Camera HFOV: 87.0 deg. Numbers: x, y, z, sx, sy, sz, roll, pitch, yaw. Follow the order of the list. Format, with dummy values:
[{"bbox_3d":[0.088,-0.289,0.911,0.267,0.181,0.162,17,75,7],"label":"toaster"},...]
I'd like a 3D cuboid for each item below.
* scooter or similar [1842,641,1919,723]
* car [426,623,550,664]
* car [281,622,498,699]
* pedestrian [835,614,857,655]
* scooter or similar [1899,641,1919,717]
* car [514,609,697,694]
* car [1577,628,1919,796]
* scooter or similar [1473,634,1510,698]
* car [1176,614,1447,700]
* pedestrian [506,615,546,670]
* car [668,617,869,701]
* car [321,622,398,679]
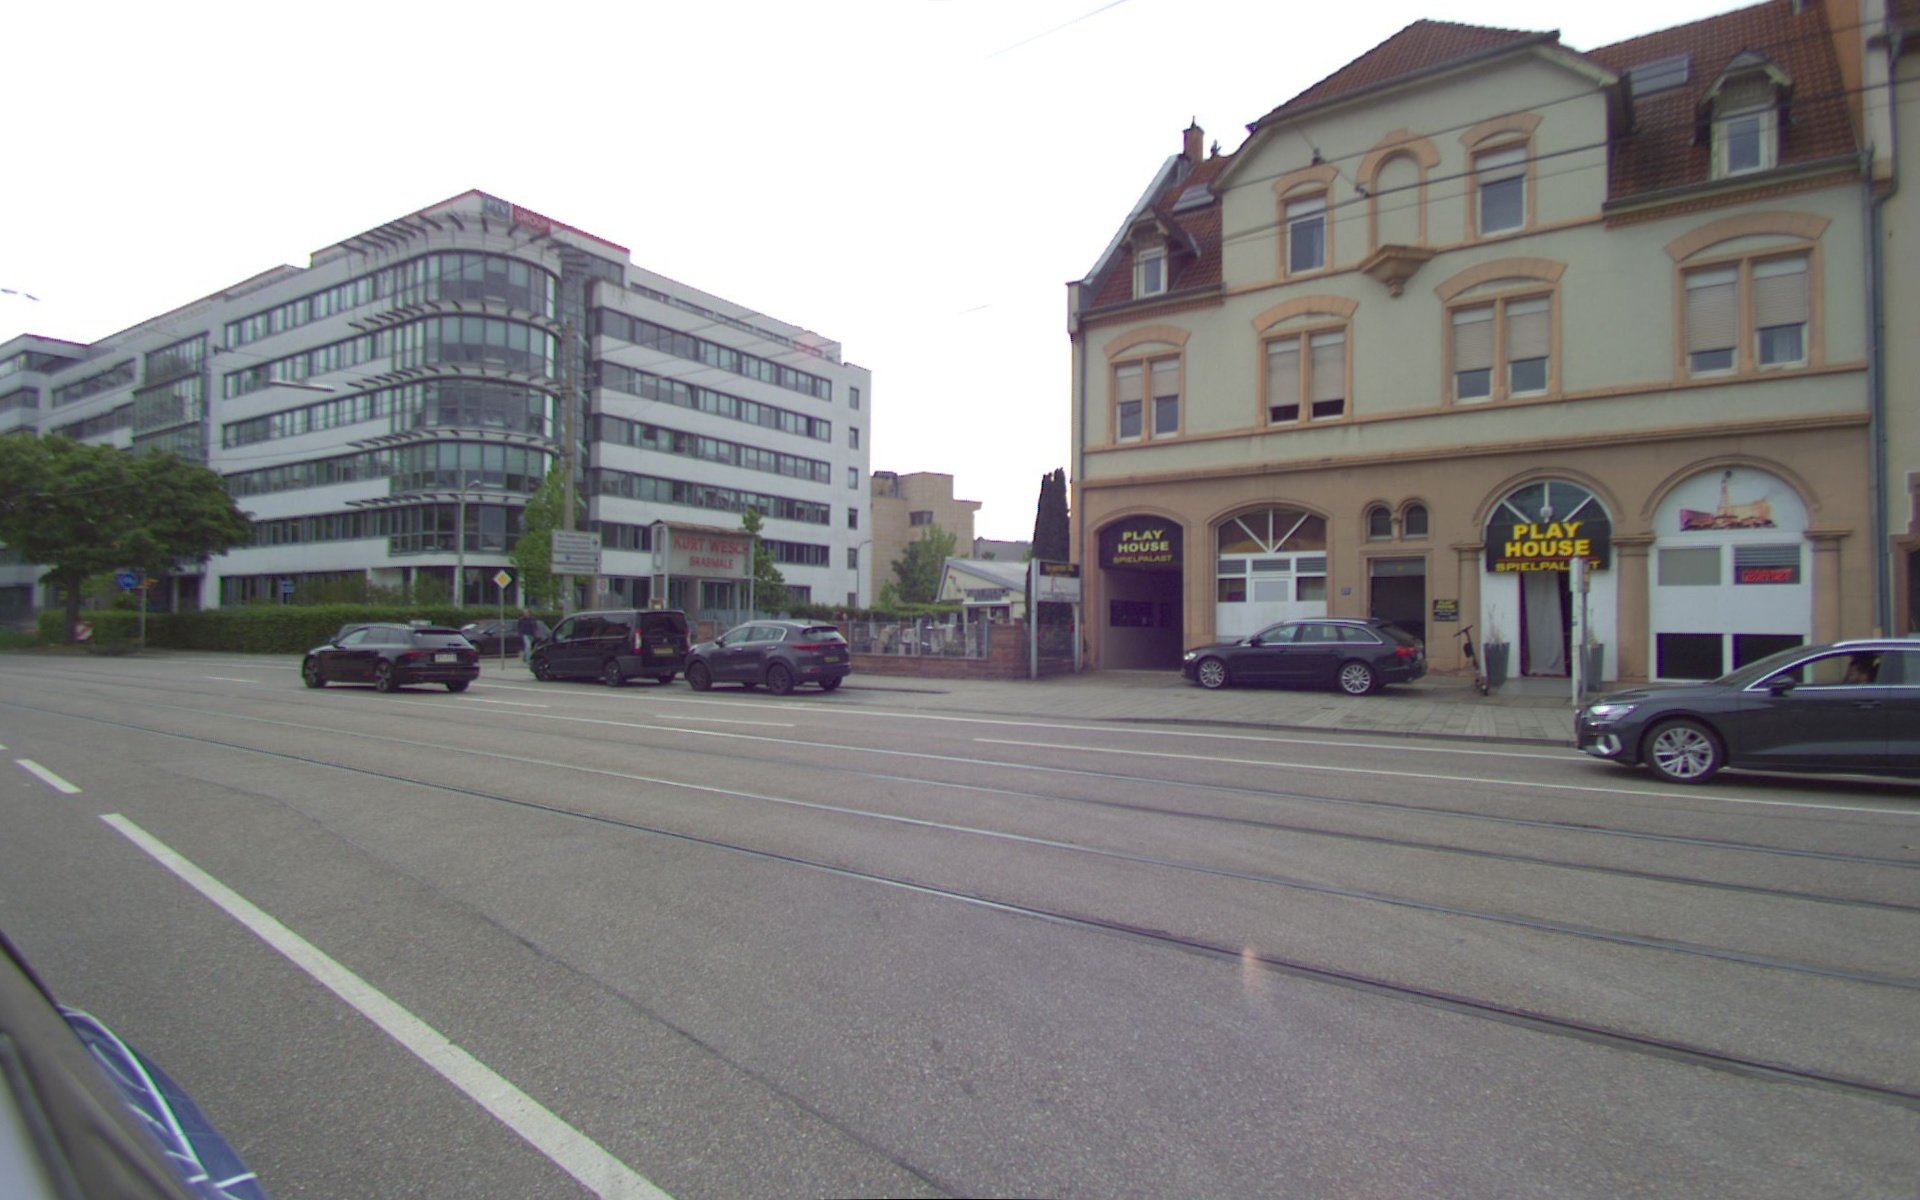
[{"bbox_3d":[13.647,1.177,14.819,0.521,1.110,1.175,0,-1,7],"label":"scooter or similar"},{"bbox_3d":[-18.192,1.665,39.100,1.817,1.462,3.930,-1,-2,43],"label":"car"},{"bbox_3d":[-12.377,1.264,21.907,4.801,1.484,1.891,0,-3,30],"label":"car"},{"bbox_3d":[-4.921,1.480,43.717,0.761,1.787,0.628,-1,-1,40],"label":"pedestrian"},{"bbox_3d":[14.438,1.176,14.730,0.521,1.110,1.175,0,-1,7],"label":"scooter or similar"},{"bbox_3d":[-9.444,1.258,26.776,5.173,2.029,1.969,0,0,35],"label":"car"},{"bbox_3d":[8.579,1.022,9.772,4.412,1.439,1.866,-1,-3,34],"label":"car"},{"bbox_3d":[10.101,1.233,19.214,0.526,1.110,1.165,-1,1,32],"label":"scooter or similar"},{"bbox_3d":[7.120,1.070,20.757,4.893,1.504,1.976,-1,1,36],"label":"car"},{"bbox_3d":[-14.640,1.411,34.138,1.058,1.839,0.796,-1,-1,37],"label":"pedestrian"},{"bbox_3d":[-4.536,1.320,23.731,4.522,1.762,2.020,-2,-1,34],"label":"car"},{"bbox_3d":[-17.648,1.479,29.855,1.765,1.542,4.154,3,-3,-29],"label":"car"}]
